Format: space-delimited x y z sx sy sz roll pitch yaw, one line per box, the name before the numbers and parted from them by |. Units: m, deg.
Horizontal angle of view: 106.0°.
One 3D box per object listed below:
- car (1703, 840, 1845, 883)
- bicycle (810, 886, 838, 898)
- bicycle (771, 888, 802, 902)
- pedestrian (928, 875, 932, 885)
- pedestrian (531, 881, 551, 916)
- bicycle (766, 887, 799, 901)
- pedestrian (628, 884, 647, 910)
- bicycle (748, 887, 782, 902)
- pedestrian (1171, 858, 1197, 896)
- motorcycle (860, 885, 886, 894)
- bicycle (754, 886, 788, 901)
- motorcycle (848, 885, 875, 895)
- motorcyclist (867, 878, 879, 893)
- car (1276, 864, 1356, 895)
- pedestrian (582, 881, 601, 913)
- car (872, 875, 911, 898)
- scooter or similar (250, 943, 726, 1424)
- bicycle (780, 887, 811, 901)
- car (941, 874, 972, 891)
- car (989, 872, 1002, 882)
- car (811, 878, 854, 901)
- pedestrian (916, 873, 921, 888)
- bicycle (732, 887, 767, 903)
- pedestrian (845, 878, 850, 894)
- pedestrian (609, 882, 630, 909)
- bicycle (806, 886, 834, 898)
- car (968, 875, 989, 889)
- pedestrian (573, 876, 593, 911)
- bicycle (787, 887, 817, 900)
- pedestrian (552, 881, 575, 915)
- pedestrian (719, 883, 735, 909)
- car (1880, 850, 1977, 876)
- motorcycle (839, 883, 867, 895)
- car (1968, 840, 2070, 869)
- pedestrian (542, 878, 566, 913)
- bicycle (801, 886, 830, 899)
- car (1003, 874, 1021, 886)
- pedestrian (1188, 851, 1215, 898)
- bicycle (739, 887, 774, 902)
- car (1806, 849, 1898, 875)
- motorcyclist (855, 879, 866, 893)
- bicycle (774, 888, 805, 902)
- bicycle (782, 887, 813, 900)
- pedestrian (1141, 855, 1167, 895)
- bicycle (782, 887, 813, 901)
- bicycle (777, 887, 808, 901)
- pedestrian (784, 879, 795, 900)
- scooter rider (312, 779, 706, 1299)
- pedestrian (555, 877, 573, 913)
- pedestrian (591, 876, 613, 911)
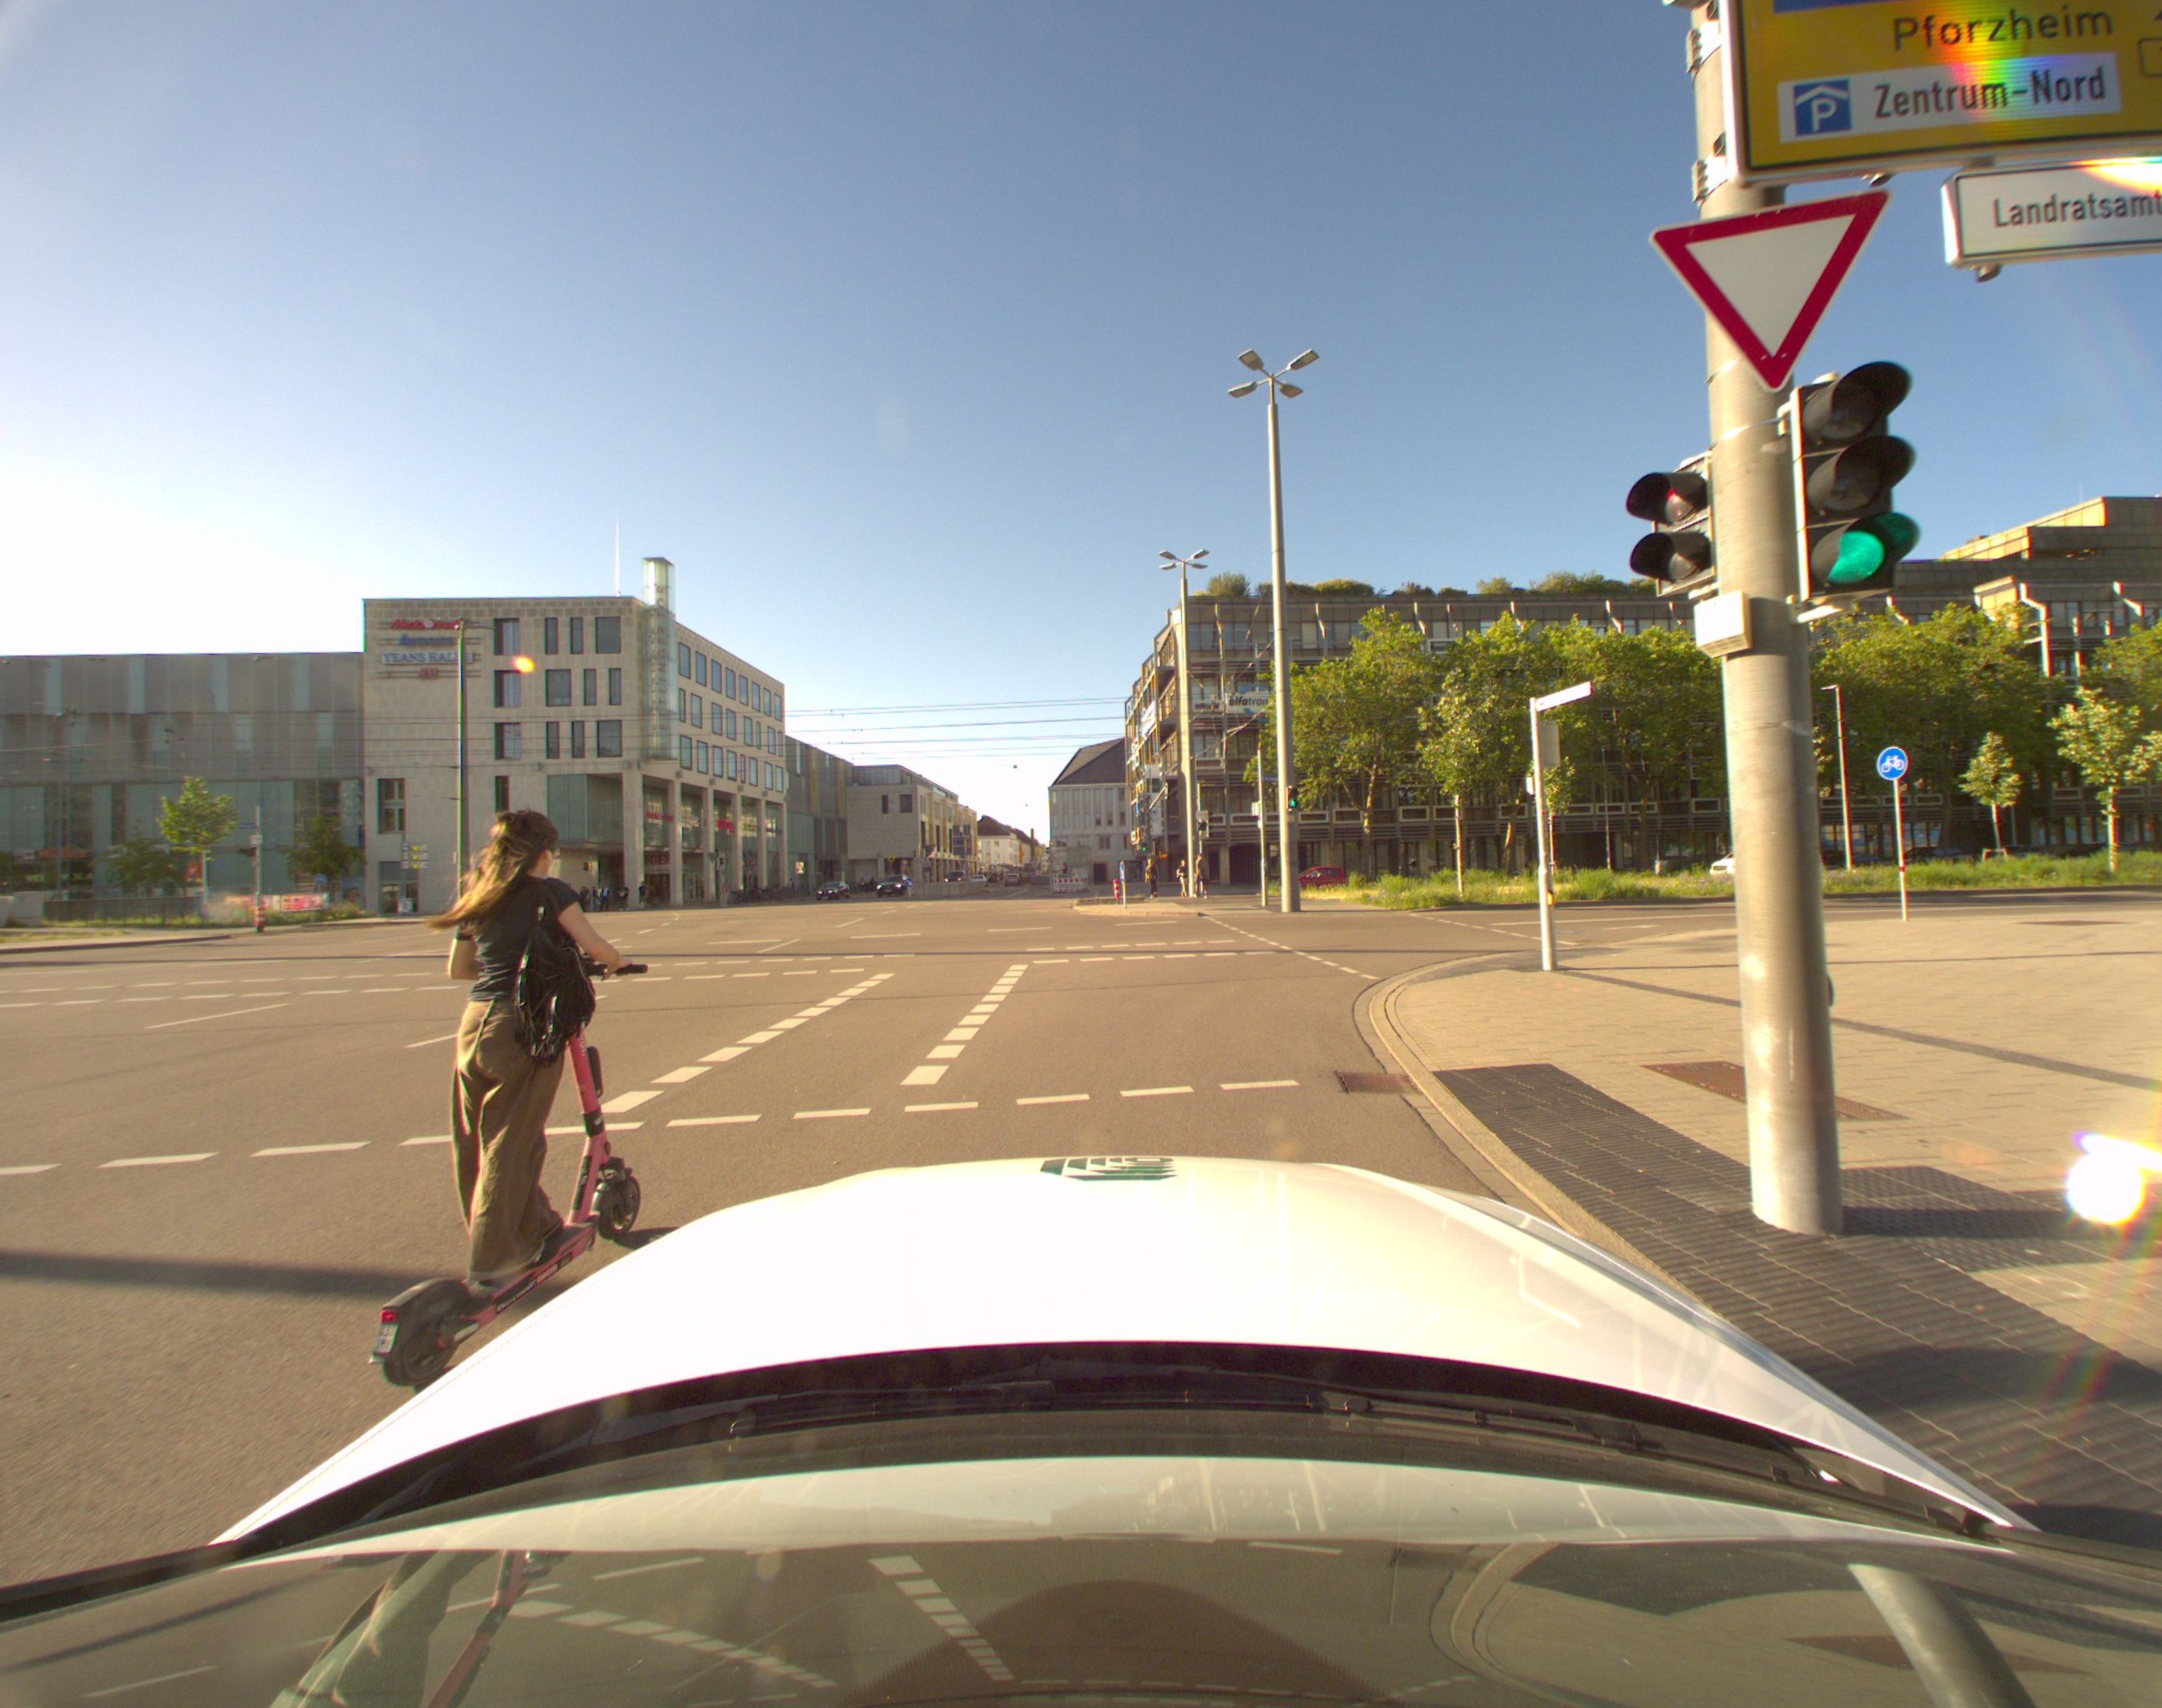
car | 36.746 0.438 43.296 5.677 2.014 2.263 -1 -3 -3
bicycle | -24.936 3.683 78.943 2.457 1.111 0.661 -2 -1 4
bicycle | -24.928 3.449 68.963 2.457 1.111 0.594 -2 -1 4
pedestrian | -20.984 3.568 113.398 0.487 1.356 0.563 0 -2 -3
pedestrian | -34.040 2.783 51.358 0.899 2.124 0.939 -1 -2 -23
bicycle | -24.730 3.297 67.394 2.457 1.111 0.685 -2 -1 4
pedestrian | -28.036 2.711 51.505 0.950 1.571 0.832 0 -2 -37
bicycle | -25.127 3.187 64.811 2.456 1.111 0.685 -2 -1 5
pedestrian | 5.244 1.179 41.573 1.011 1.911 1.047 -1 -1 -9
motorcycle | -23.317 3.955 91.289 2.662 0.996 0.915 0 -2 -4
bicycle | -24.986 3.191 65.615 2.457 1.111 0.685 -2 -1 4
motorcycle | -23.700 3.875 87.854 2.662 0.996 0.915 0 -2 -4
motorcyclist | -23.293 3.529 91.315 1.134 1.575 0.915 0 -2 -4
car | 13.097 1.432 45.509 3.855 1.486 1.845 -2 -4 0
pedestrian | -31.384 2.753 52.203 0.918 2.014 1.015 -1 -2 -25
car | -14.316 2.422 61.685 1.932 1.677 4.291 -2 -1 -1
scooter or similar | -1.957 0.985 2.992 0.640 1.176 1.483 -1 -1 0
bicycle | -24.886 3.476 70.967 2.457 1.111 0.685 -2 -1 4
car | -13.408 3.084 87.926 2.165 1.692 5.490 -2 -2 3
car | -17.311 4.651 164.874 2.167 1.873 5.612 -1 -2 -1
car | -19.252 2.754 63.277 1.930 1.581 4.295 -2 -1 1
pedestrian | -21.929 3.573 110.079 0.616 2.014 0.476 0 -2 -11
bicycle | -25.302 3.133 62.104 2.392 1.113 0.658 -2 -1 2
pedestrian | -30.748 4.191 107.132 0.616 2.014 0.476 0 -2 -11
pedestrian | -29.612 2.656 52.276 1.013 1.651 0.937 0 -2 -40
bicycle | -25.087 3.662 78.173 2.457 1.111 0.661 -2 -1 4
car | -13.075 3.582 104.189 2.168 1.692 5.609 -1 -2 -2
pedestrian | -30.844 2.460 50.429 0.903 2.124 0.936 0 -2 -39
bicycle | -25.343 3.568 74.024 2.457 1.111 0.836 -2 -1 4
pedestrian | -32.891 2.773 51.734 0.895 2.124 0.944 -1 -2 -8
pedestrian | -24.078 2.836 55.443 0.748 1.740 0.757 -1 -2 1
car | 54.174 0.563 52.092 4.600 1.557 1.747 -1 0 -5
motorcycle | -23.884 3.709 85.497 2.662 1.217 0.915 0 -2 -4
car | 60.722 0.035 52.768 4.335 1.633 1.915 -2 -3 -1
pedestrian | -32.682 2.547 50.514 0.896 2.124 0.943 -1 -2 -11
bicycle | -25.206 3.656 77.370 2.457 1.111 0.836 -2 -1 4
car | -8.532 3.264 101.173 1.930 1.450 4.260 -1 -2 0
pedestrian | 4.594 0.761 31.120 0.854 1.744 0.738 -2 -1 -5
bicycle | -25.249 3.154 63.450 2.457 1.111 0.684 -2 -1 3
car | 48.906 0.526 51.723 3.974 1.521 2.000 -2 -1 0
motorcyclist | -23.783 3.476 87.848 1.034 1.471 0.915 0 -2 -4
bicycle | -24.892 3.462 69.534 2.457 1.111 0.538 -2 -1 4
bicycle | -25.321 3.539 72.769 2.457 1.111 0.685 -2 -1 4
pedestrian | 2.909 0.844 32.605 0.894 1.549 0.923 -2 0 -3
bicycle | -25.034 3.516 71.920 2.457 1.111 0.836 -2 -1 4
bicycle | -24.867 3.479 70.188 2.457 1.111 0.685 -2 -1 4
pedestrian | -28.151 3.401 78.652 0.949 1.982 1.000 -1 -2 -21
scooter rider | -1.966 0.558 3.000 0.640 1.544 1.117 -1 -1 0
pedestrian | -31.603 2.504 49.781 0.901 2.124 0.937 0 -2 -32
pedestrian | -30.054 2.489 51.080 1.068 2.129 1.085 0 -2 -39
